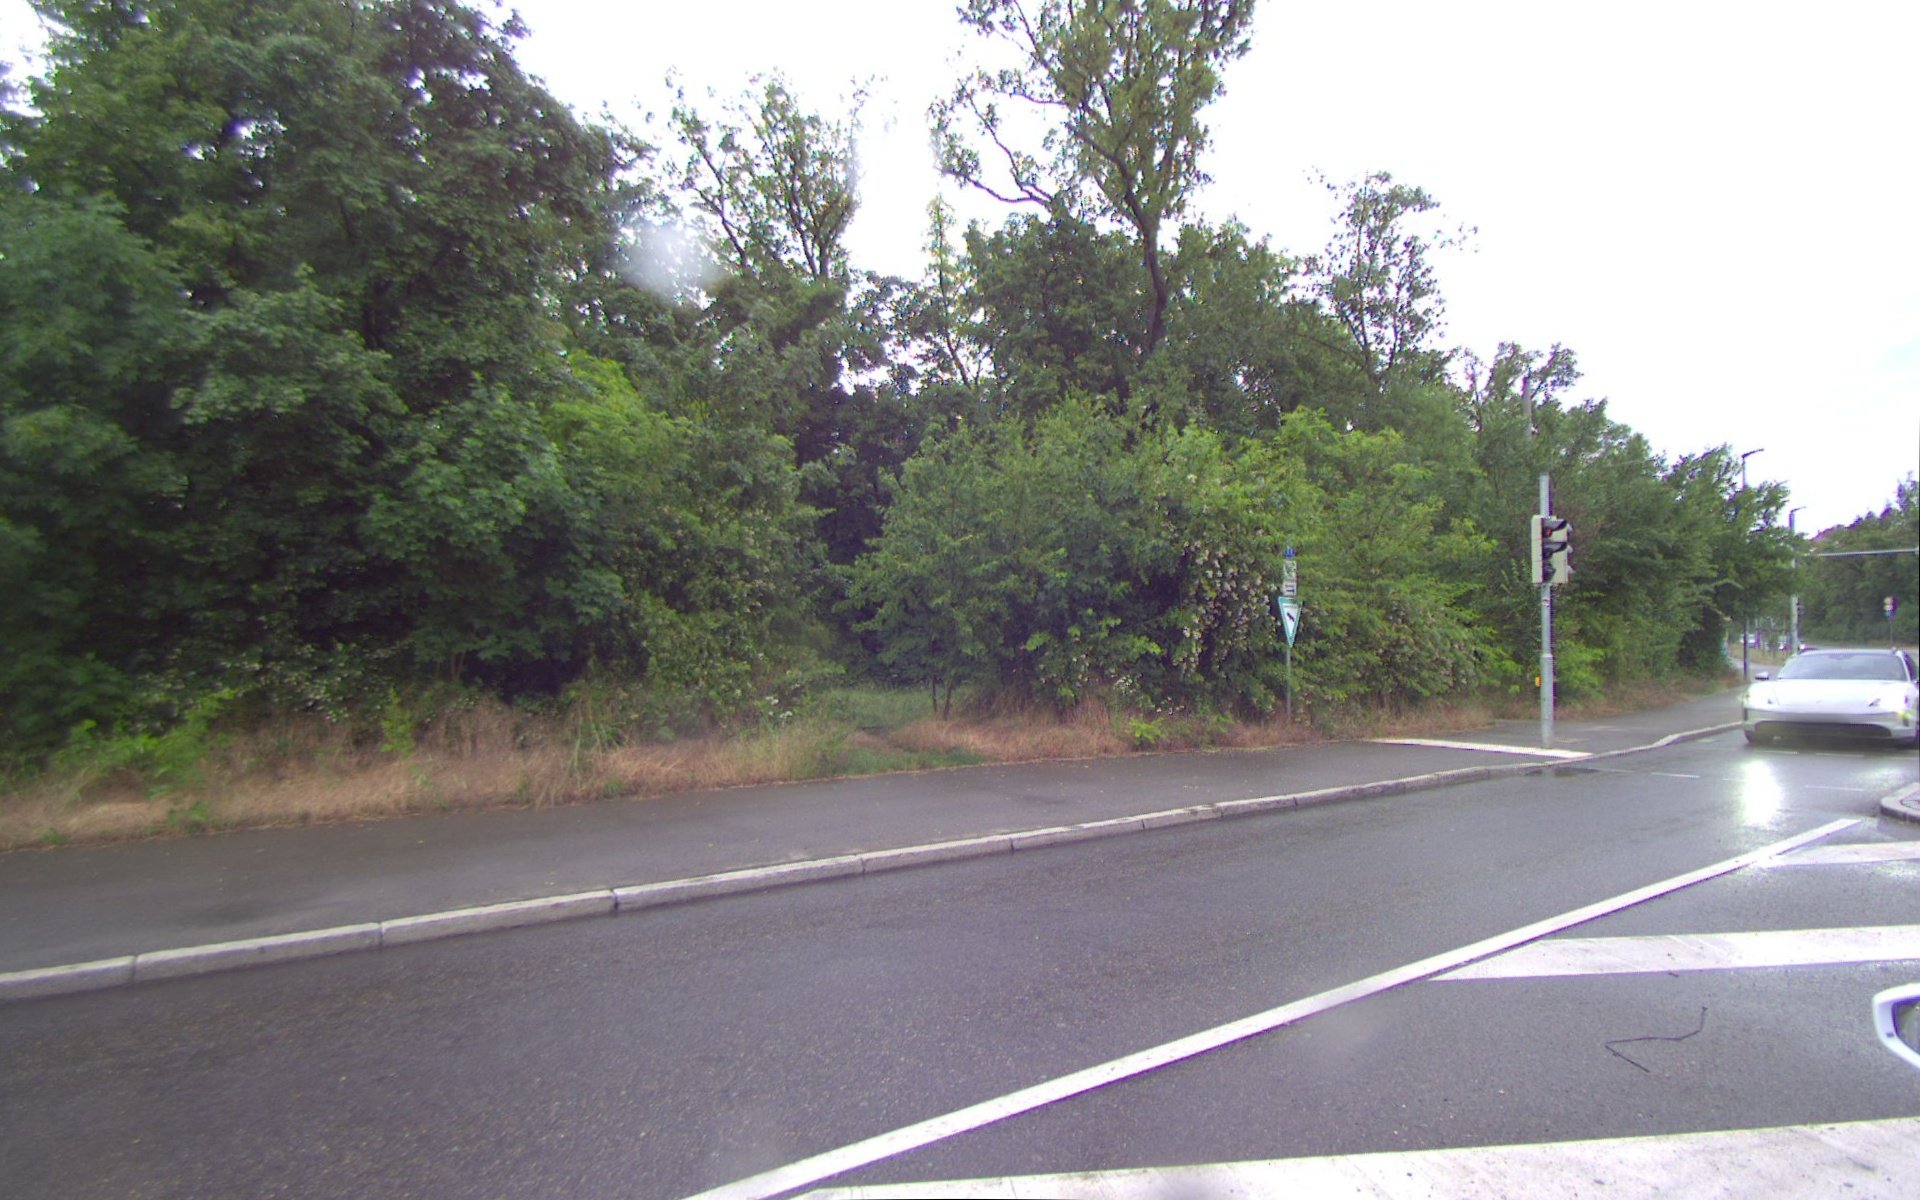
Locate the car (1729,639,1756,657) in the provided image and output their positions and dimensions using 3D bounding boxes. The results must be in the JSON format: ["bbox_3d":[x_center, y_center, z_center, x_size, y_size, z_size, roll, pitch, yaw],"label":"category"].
[{"bbox_3d":[76.433,4.664,98.103,1.970,1.606,3.981,1,-2,40],"label":"car"}]

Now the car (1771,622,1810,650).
[{"bbox_3d":[65.066,2.839,78.728,1.967,2.040,3.988,1,-2,34],"label":"car"}]

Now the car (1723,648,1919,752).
[{"bbox_3d":[13.546,1.443,15.447,4.324,1.328,1.977,2,-4,-40],"label":"car"}]
